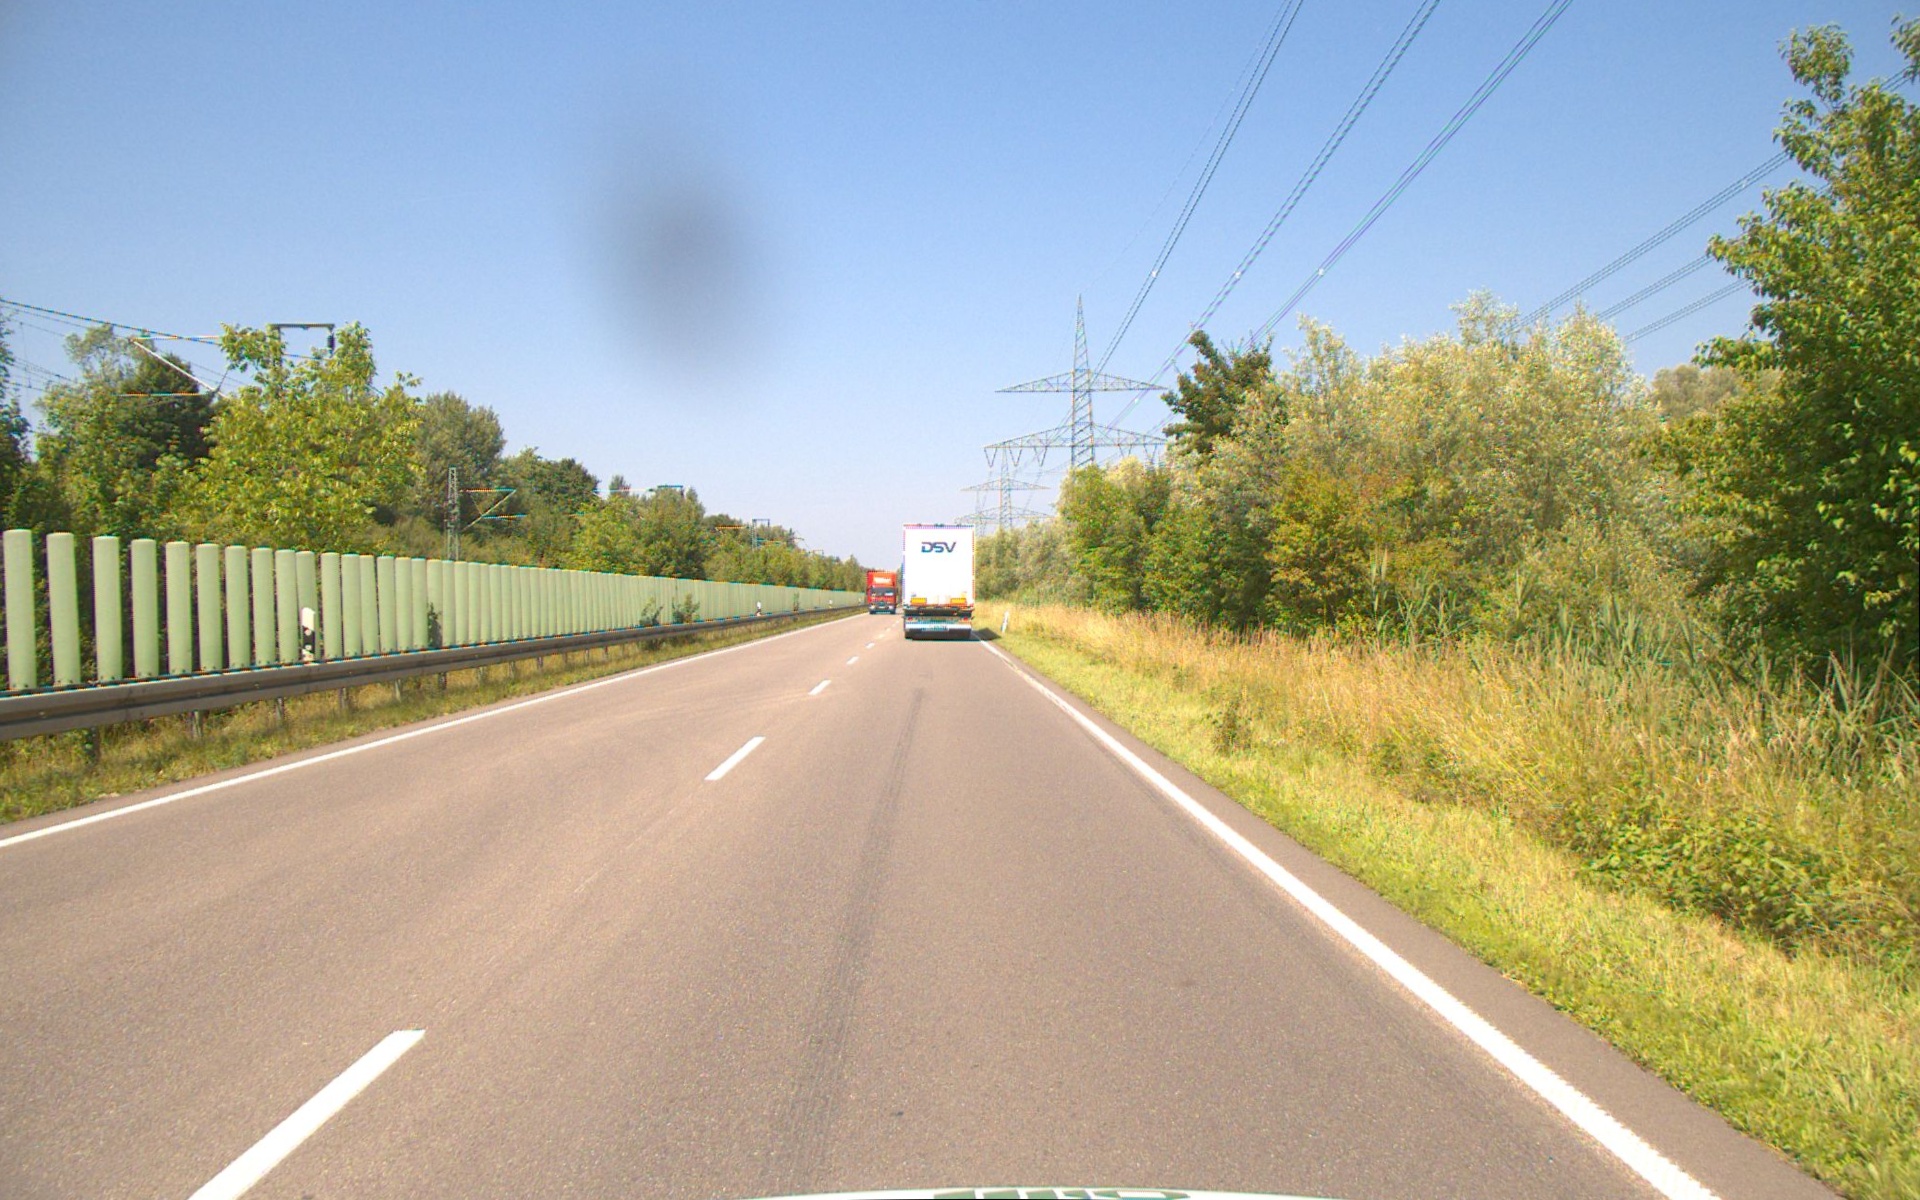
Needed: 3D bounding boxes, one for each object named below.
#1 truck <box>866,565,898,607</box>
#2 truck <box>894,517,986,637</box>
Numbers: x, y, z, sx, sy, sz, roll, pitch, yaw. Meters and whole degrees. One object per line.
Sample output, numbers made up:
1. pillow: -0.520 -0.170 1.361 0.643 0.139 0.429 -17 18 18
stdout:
1. truck: -6.996 -1.276 149.247 2.679 3.662 9.523 0 0 -2
2. truck: -0.864 -0.810 62.856 3.128 4.113 12.002 0 0 -2
